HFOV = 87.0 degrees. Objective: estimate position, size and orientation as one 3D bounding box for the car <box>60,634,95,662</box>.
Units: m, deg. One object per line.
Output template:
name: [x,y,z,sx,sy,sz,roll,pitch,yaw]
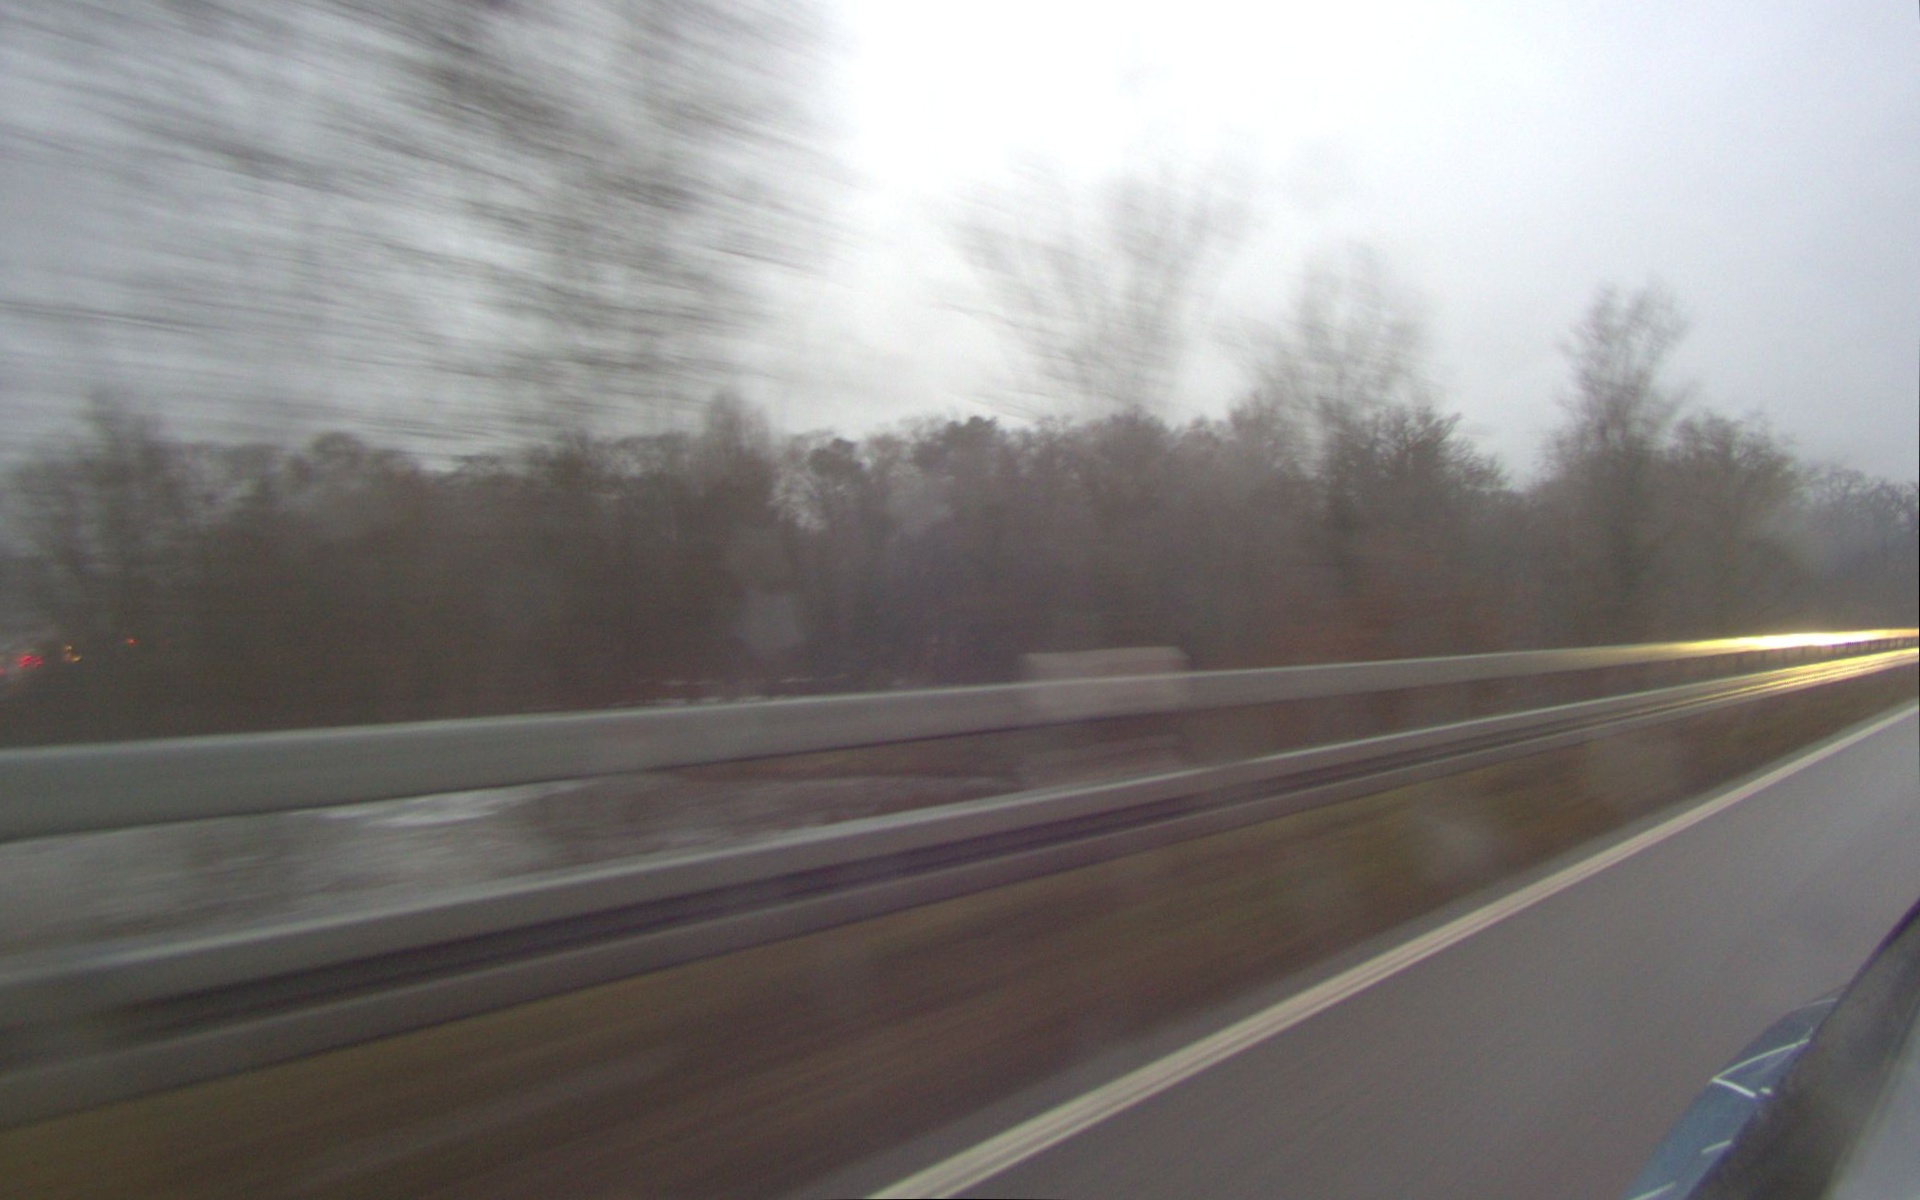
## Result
car: [-122.637,6.649,140.684,2.497,3.425,6.665,0,1,-31]
